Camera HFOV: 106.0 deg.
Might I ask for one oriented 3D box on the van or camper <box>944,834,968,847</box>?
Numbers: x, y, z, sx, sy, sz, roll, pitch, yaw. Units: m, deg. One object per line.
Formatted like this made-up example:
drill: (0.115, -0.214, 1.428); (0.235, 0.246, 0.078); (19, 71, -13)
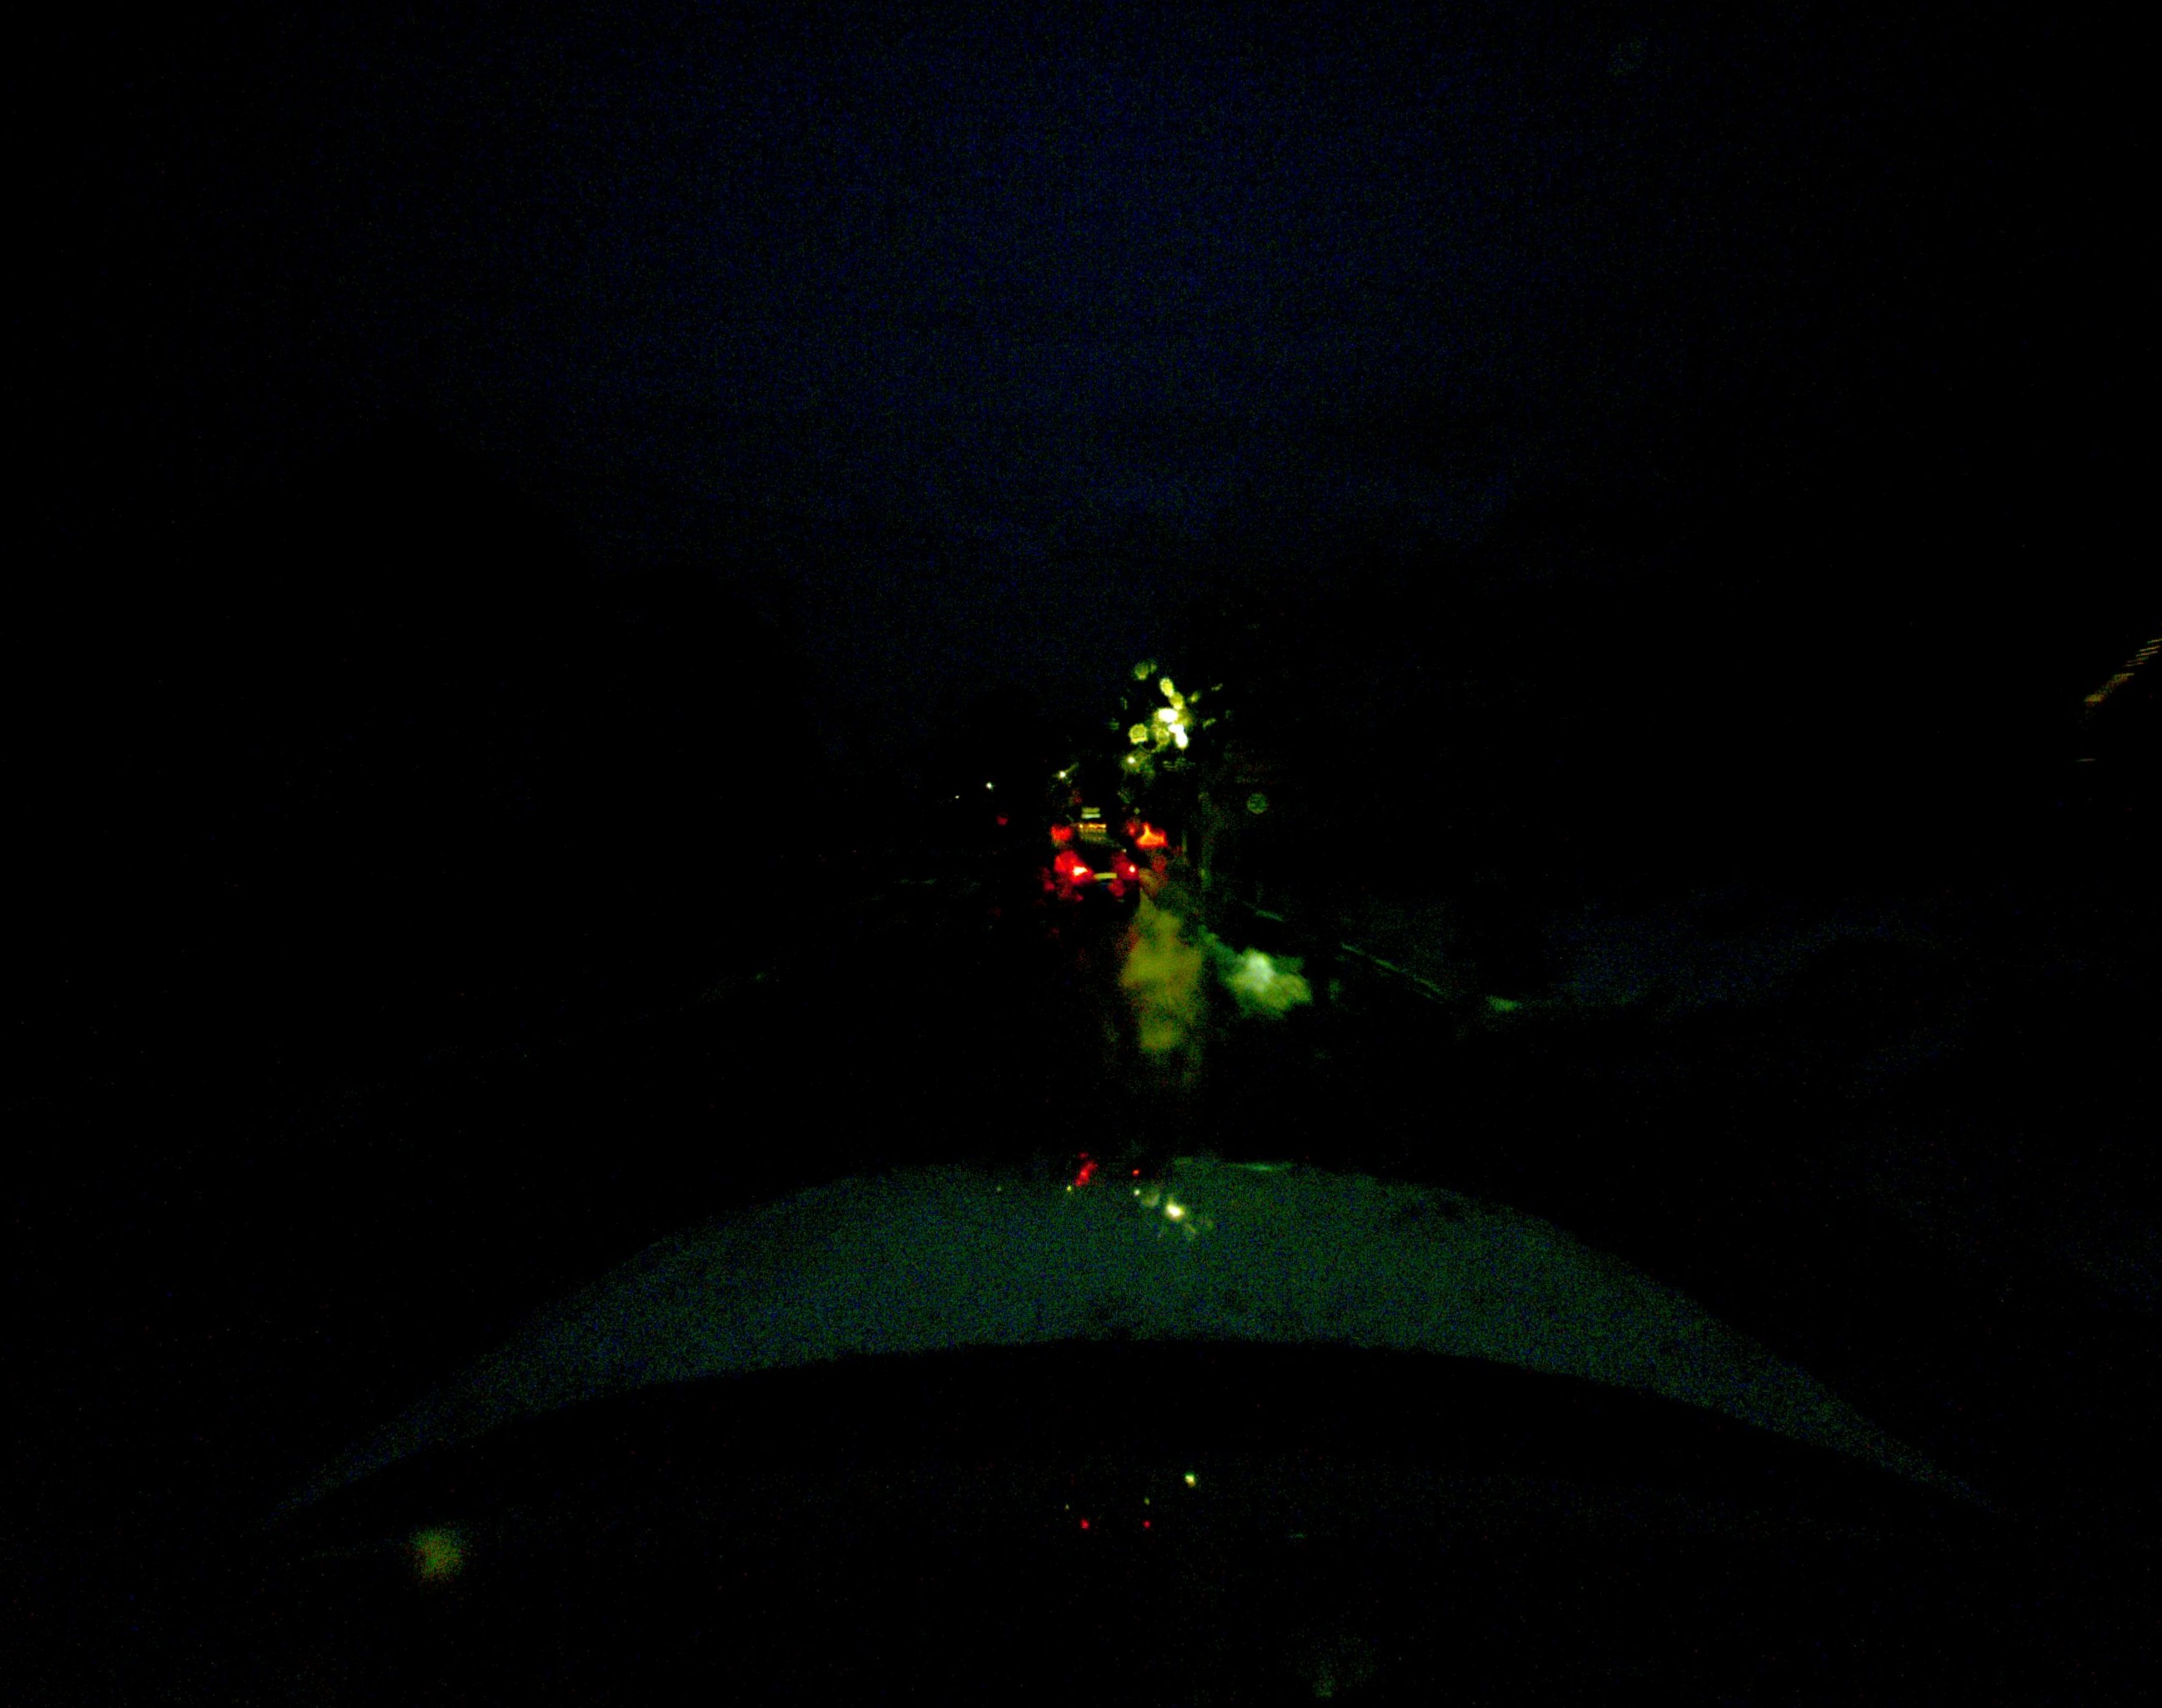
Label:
van or camper: (-11.106, -1.180, 72.376); (1.289, 1.101, 3.246); (0, -1, -25)

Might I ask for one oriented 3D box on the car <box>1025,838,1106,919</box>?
car: (-0.419, 0.535, 20.931); (1.818, 1.796, 3.575); (-2, 2, -2)

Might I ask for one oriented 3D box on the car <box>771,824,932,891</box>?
car: (-9.426, 0.123, 33.717); (6.134, 2.553, 1.981); (0, -1, -30)
